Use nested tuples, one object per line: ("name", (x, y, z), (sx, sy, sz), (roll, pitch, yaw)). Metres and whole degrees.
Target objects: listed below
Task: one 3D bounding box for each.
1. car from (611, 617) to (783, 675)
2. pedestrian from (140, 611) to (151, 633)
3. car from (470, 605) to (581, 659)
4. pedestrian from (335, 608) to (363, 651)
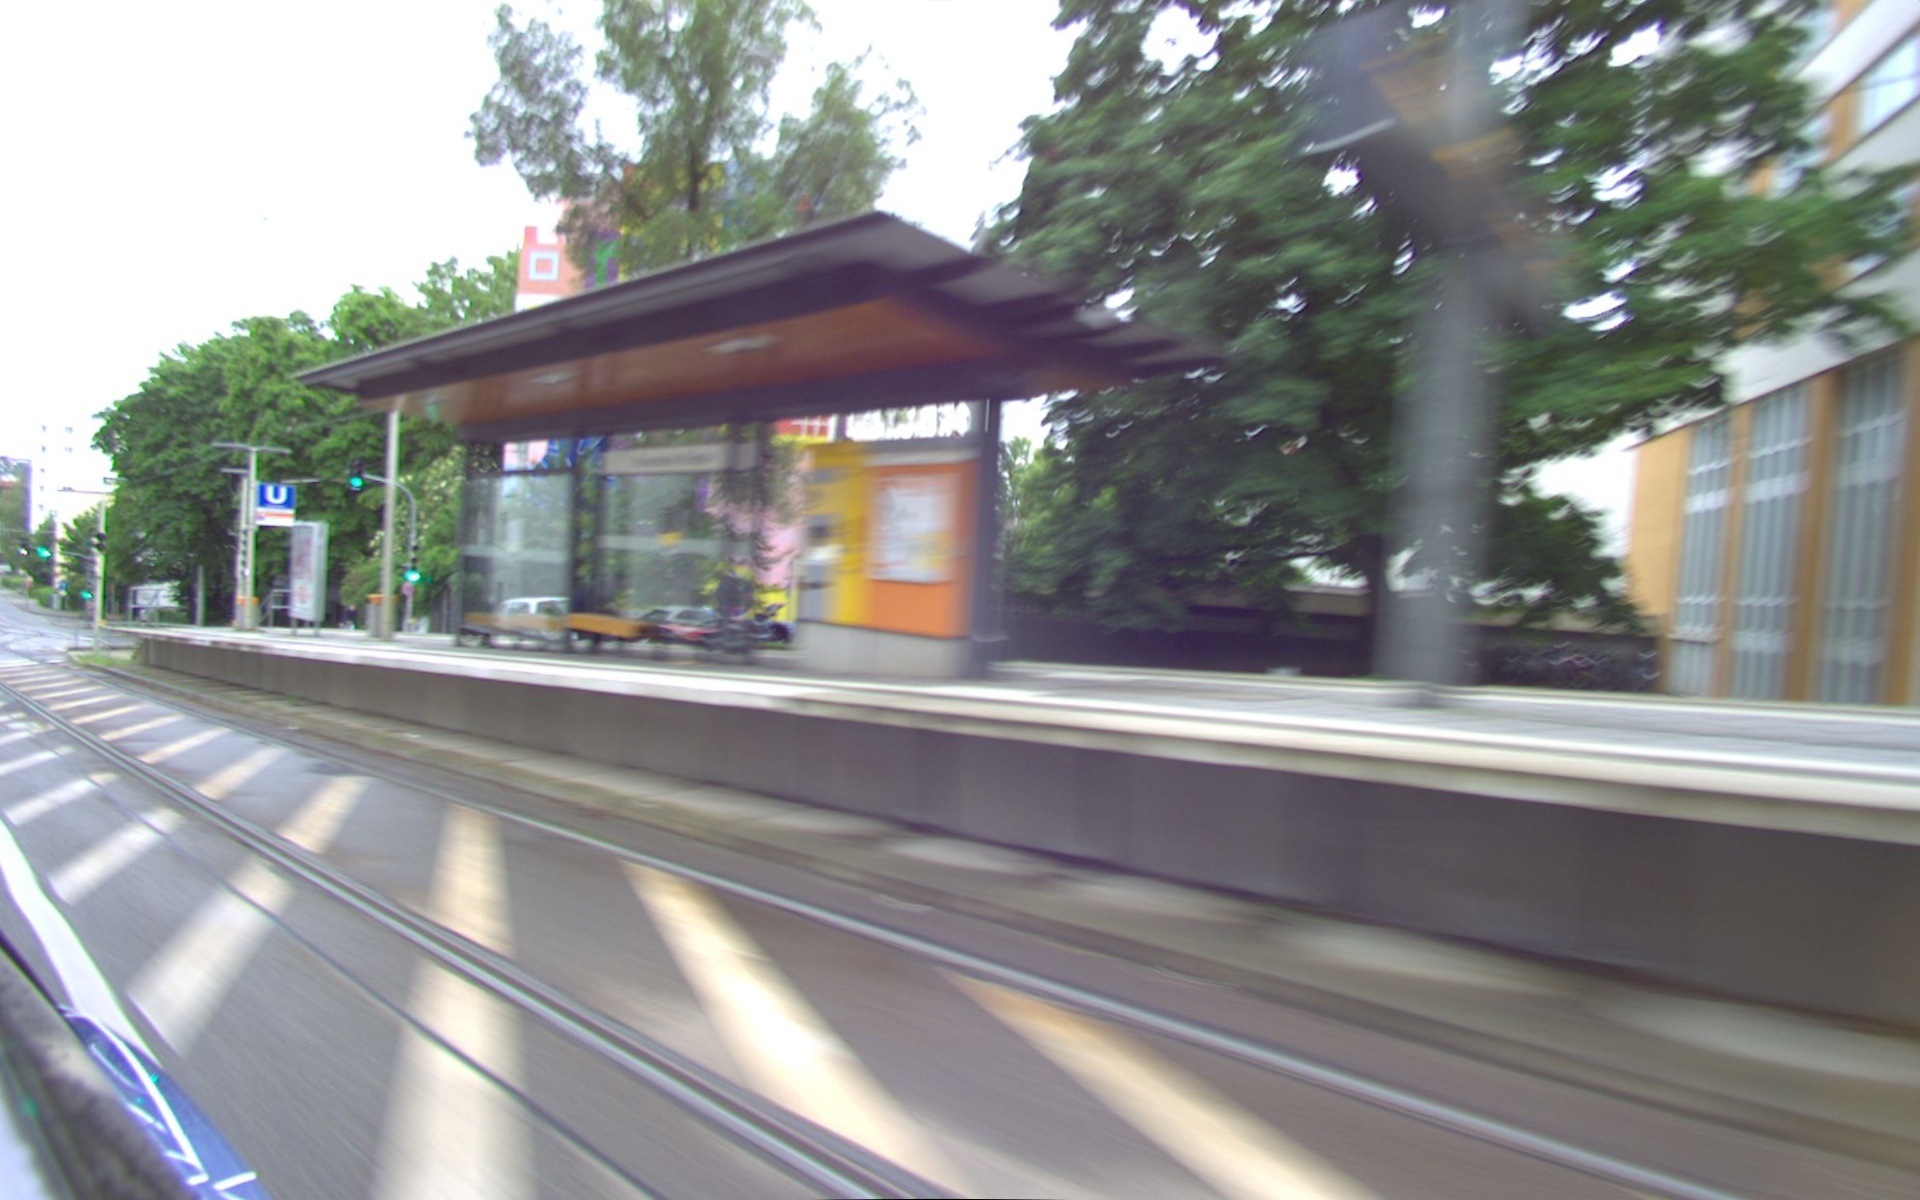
("car", (-7.533, 1.309, 29.064), (4.415, 1.554, 1.951), (2, -3, -28))
("pedestrian", (-55.608, 1.506, 69.070), (0.529, 1.437, 0.522), (-2, -1, 44))
("car", (-14.976, 1.104, 34.820), (4.439, 1.730, 1.728), (-2, -3, 41))
("pedestrian", (-22.918, 1.099, 37.956), (0.618, 1.605, 0.744), (-2, -1, 44))
